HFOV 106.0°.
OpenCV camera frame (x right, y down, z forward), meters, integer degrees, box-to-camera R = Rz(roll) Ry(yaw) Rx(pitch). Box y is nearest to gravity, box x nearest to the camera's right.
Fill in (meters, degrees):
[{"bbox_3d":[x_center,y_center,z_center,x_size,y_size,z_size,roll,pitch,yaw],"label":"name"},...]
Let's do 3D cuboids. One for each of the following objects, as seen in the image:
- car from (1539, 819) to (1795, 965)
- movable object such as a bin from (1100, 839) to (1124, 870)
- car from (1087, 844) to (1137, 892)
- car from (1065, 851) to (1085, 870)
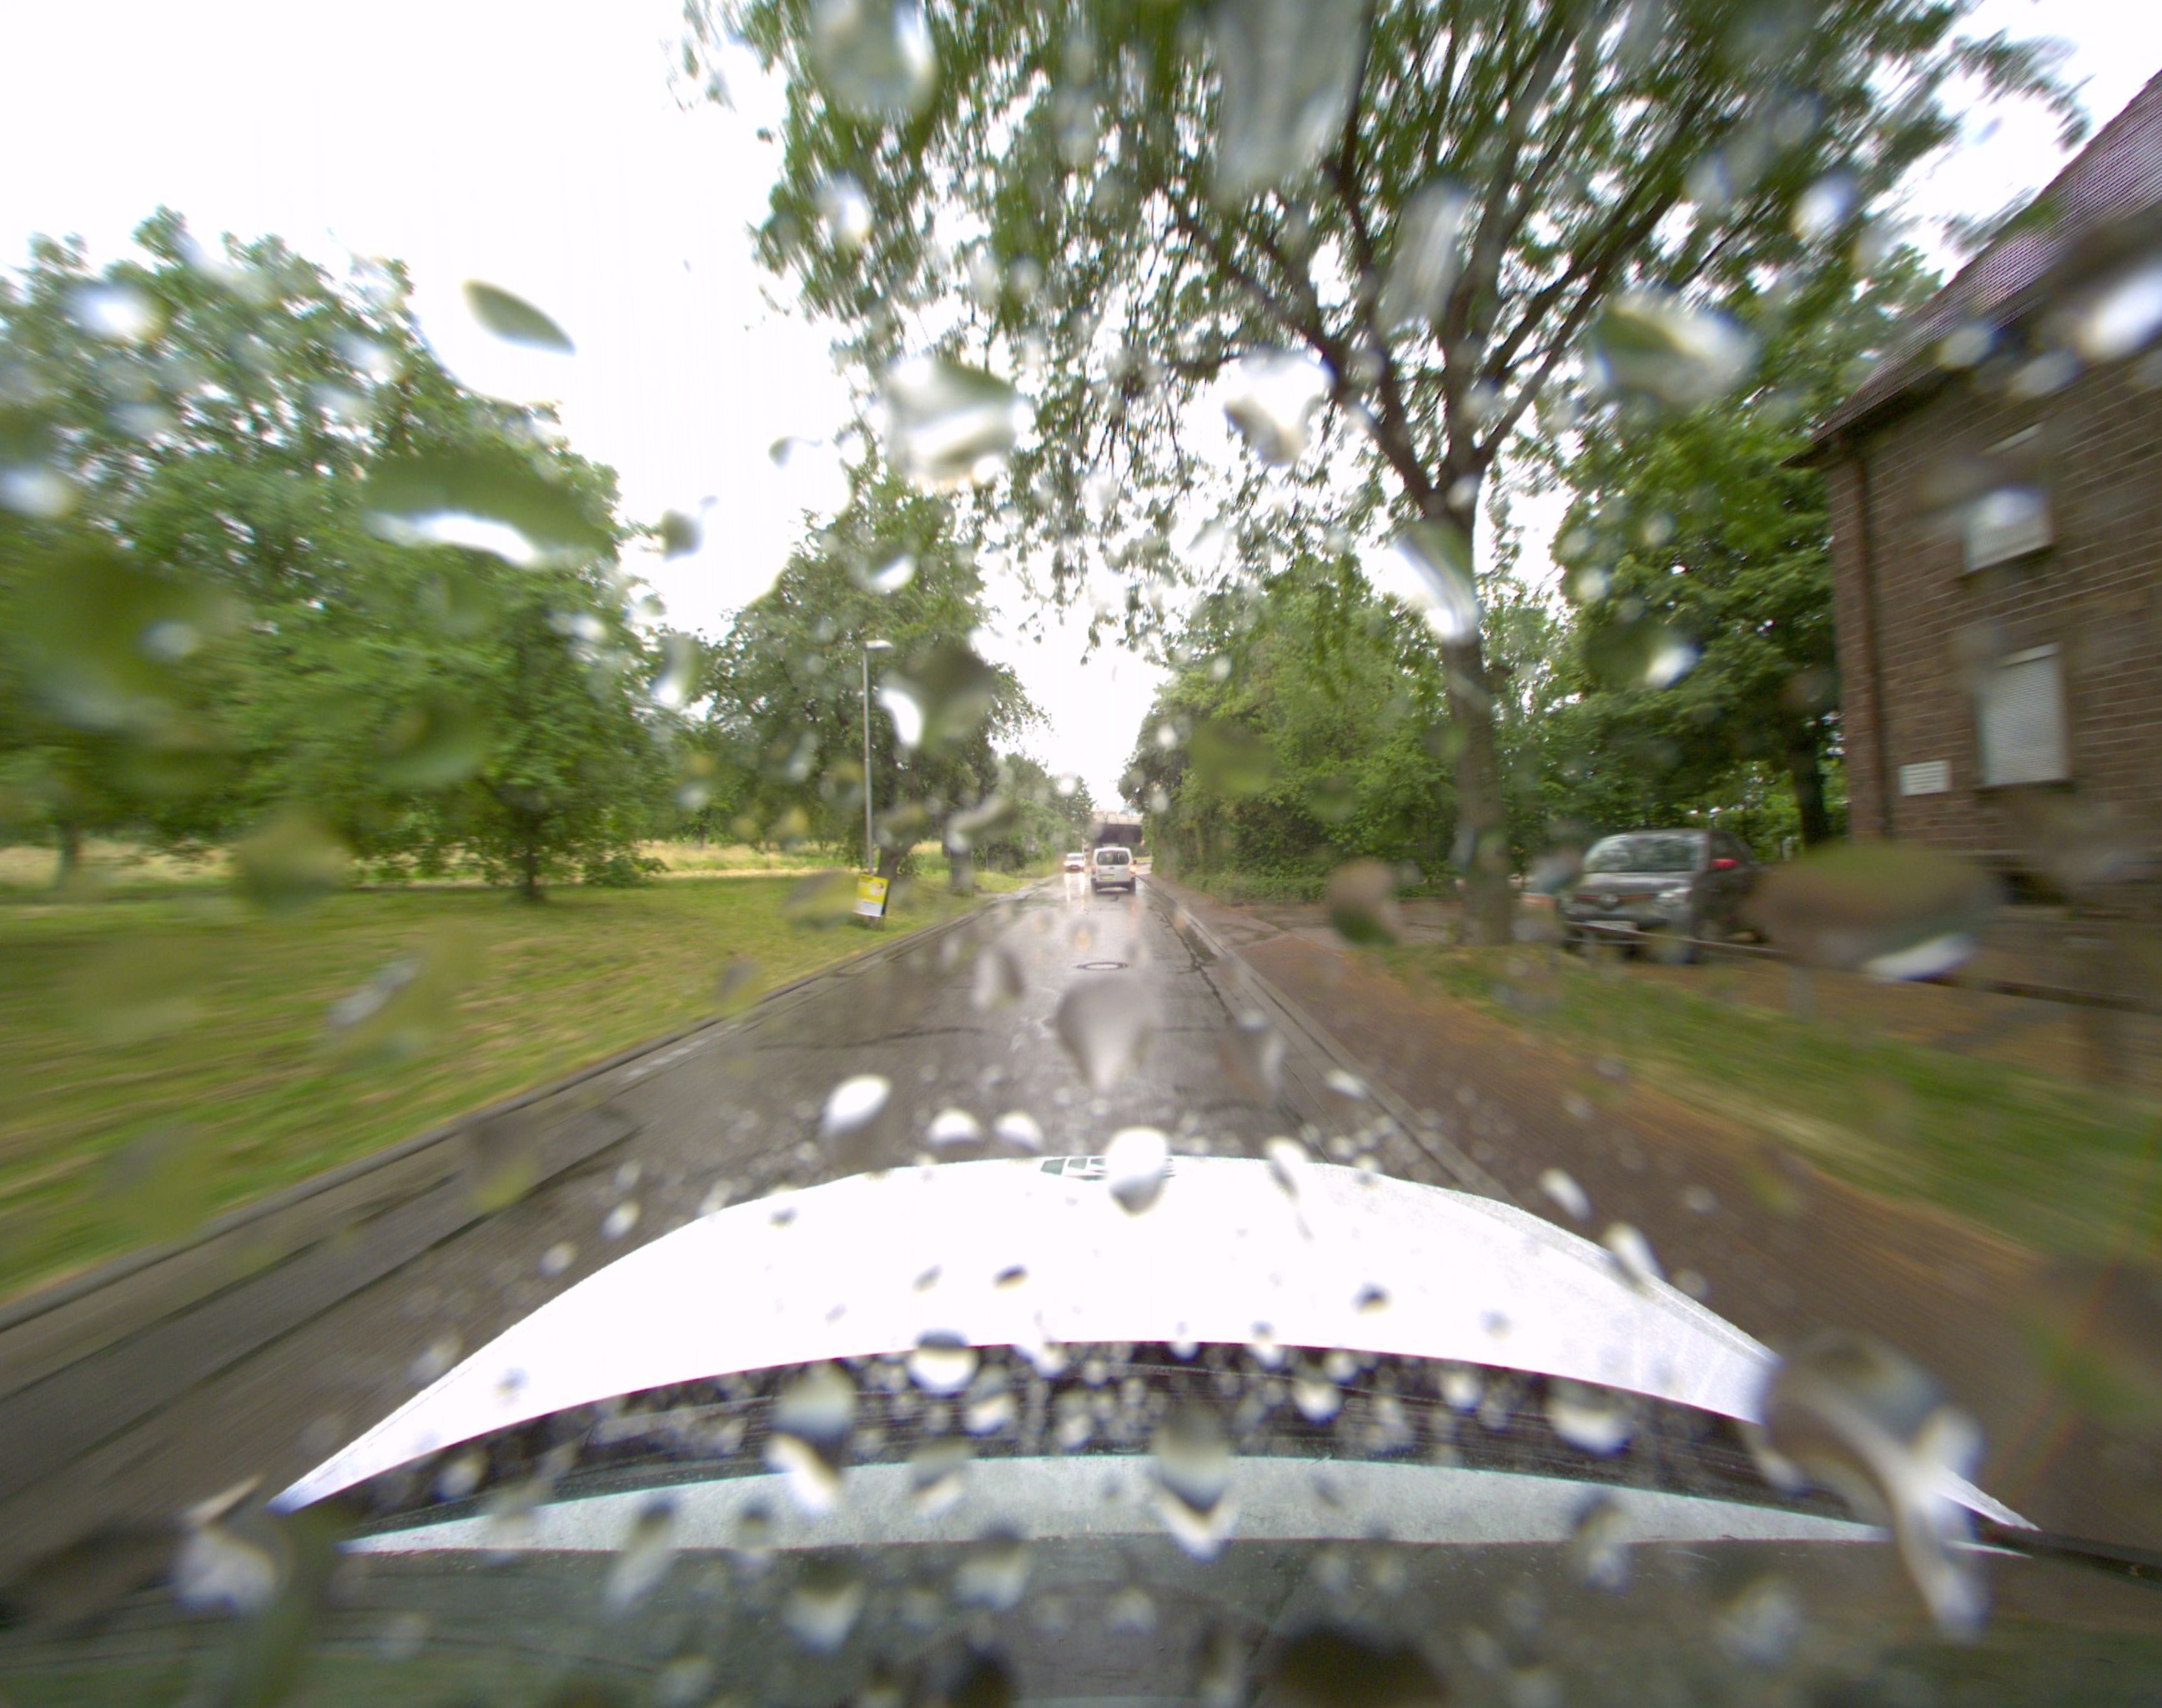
[{"bbox_3d":[7.551,0.387,10.400,3.630,1.551,1.604,-2,-1,-37],"label":"car"},{"bbox_3d":[2.679,0.086,69.584,1.753,2.548,4.244,-1,0,5],"label":"movable object such as a bin"},{"bbox_3d":[1.307,0.537,33.839,1.889,1.807,4.003,-2,0,3],"label":"car"},{"bbox_3d":[-0.575,0.616,78.745,1.817,1.832,4.307,-1,0,1],"label":"car"}]
